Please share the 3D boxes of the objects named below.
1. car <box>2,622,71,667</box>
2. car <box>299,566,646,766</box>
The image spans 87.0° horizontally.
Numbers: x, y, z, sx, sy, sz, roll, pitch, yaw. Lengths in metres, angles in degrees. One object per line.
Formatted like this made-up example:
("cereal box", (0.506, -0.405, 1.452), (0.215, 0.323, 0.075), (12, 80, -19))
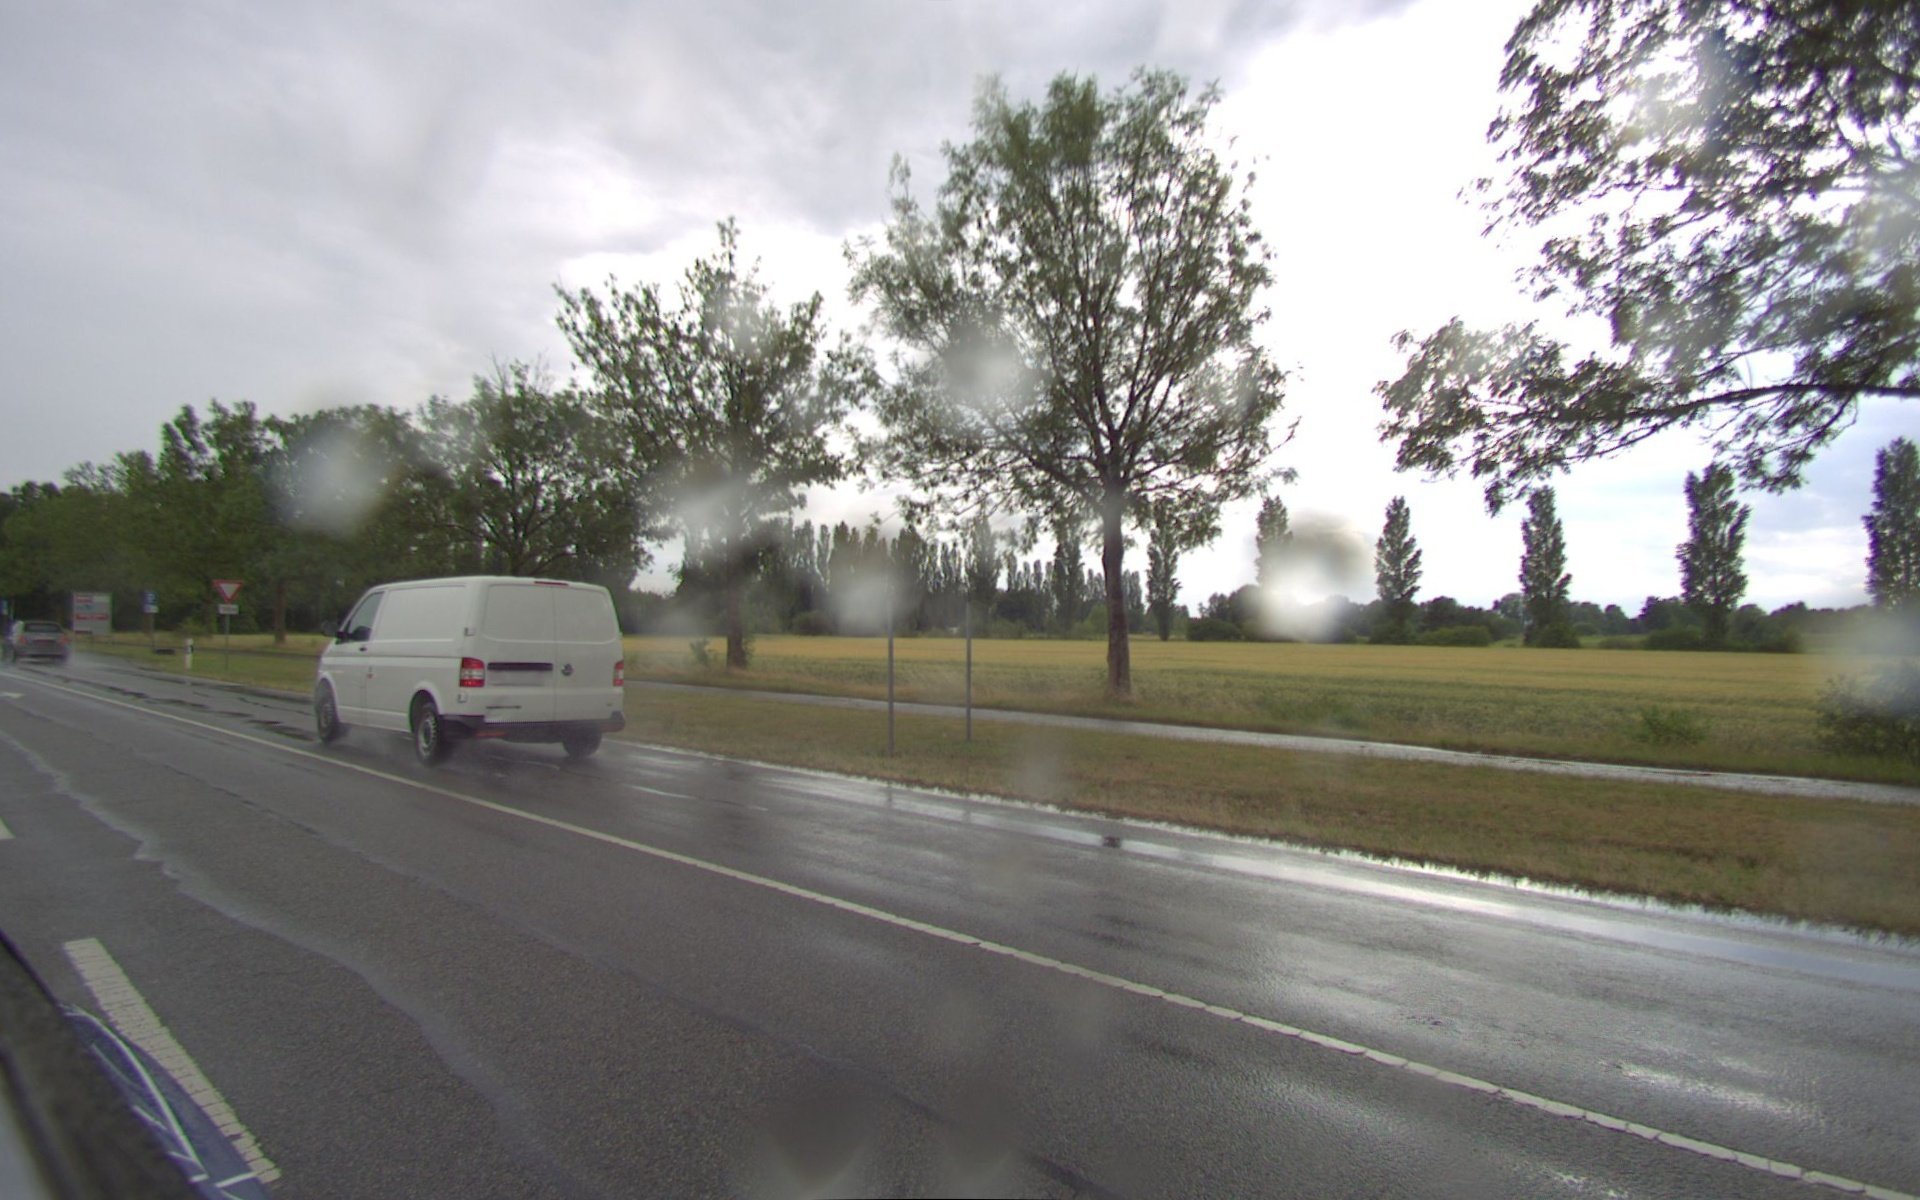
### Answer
("car", (-33.522, 1.588, 36.714), (3.300, 1.541, 1.484), (-1, -4, 43))
("car", (-5.804, 0.693, 11.774), (4.683, 1.876, 1.896), (-1, -4, 41))
